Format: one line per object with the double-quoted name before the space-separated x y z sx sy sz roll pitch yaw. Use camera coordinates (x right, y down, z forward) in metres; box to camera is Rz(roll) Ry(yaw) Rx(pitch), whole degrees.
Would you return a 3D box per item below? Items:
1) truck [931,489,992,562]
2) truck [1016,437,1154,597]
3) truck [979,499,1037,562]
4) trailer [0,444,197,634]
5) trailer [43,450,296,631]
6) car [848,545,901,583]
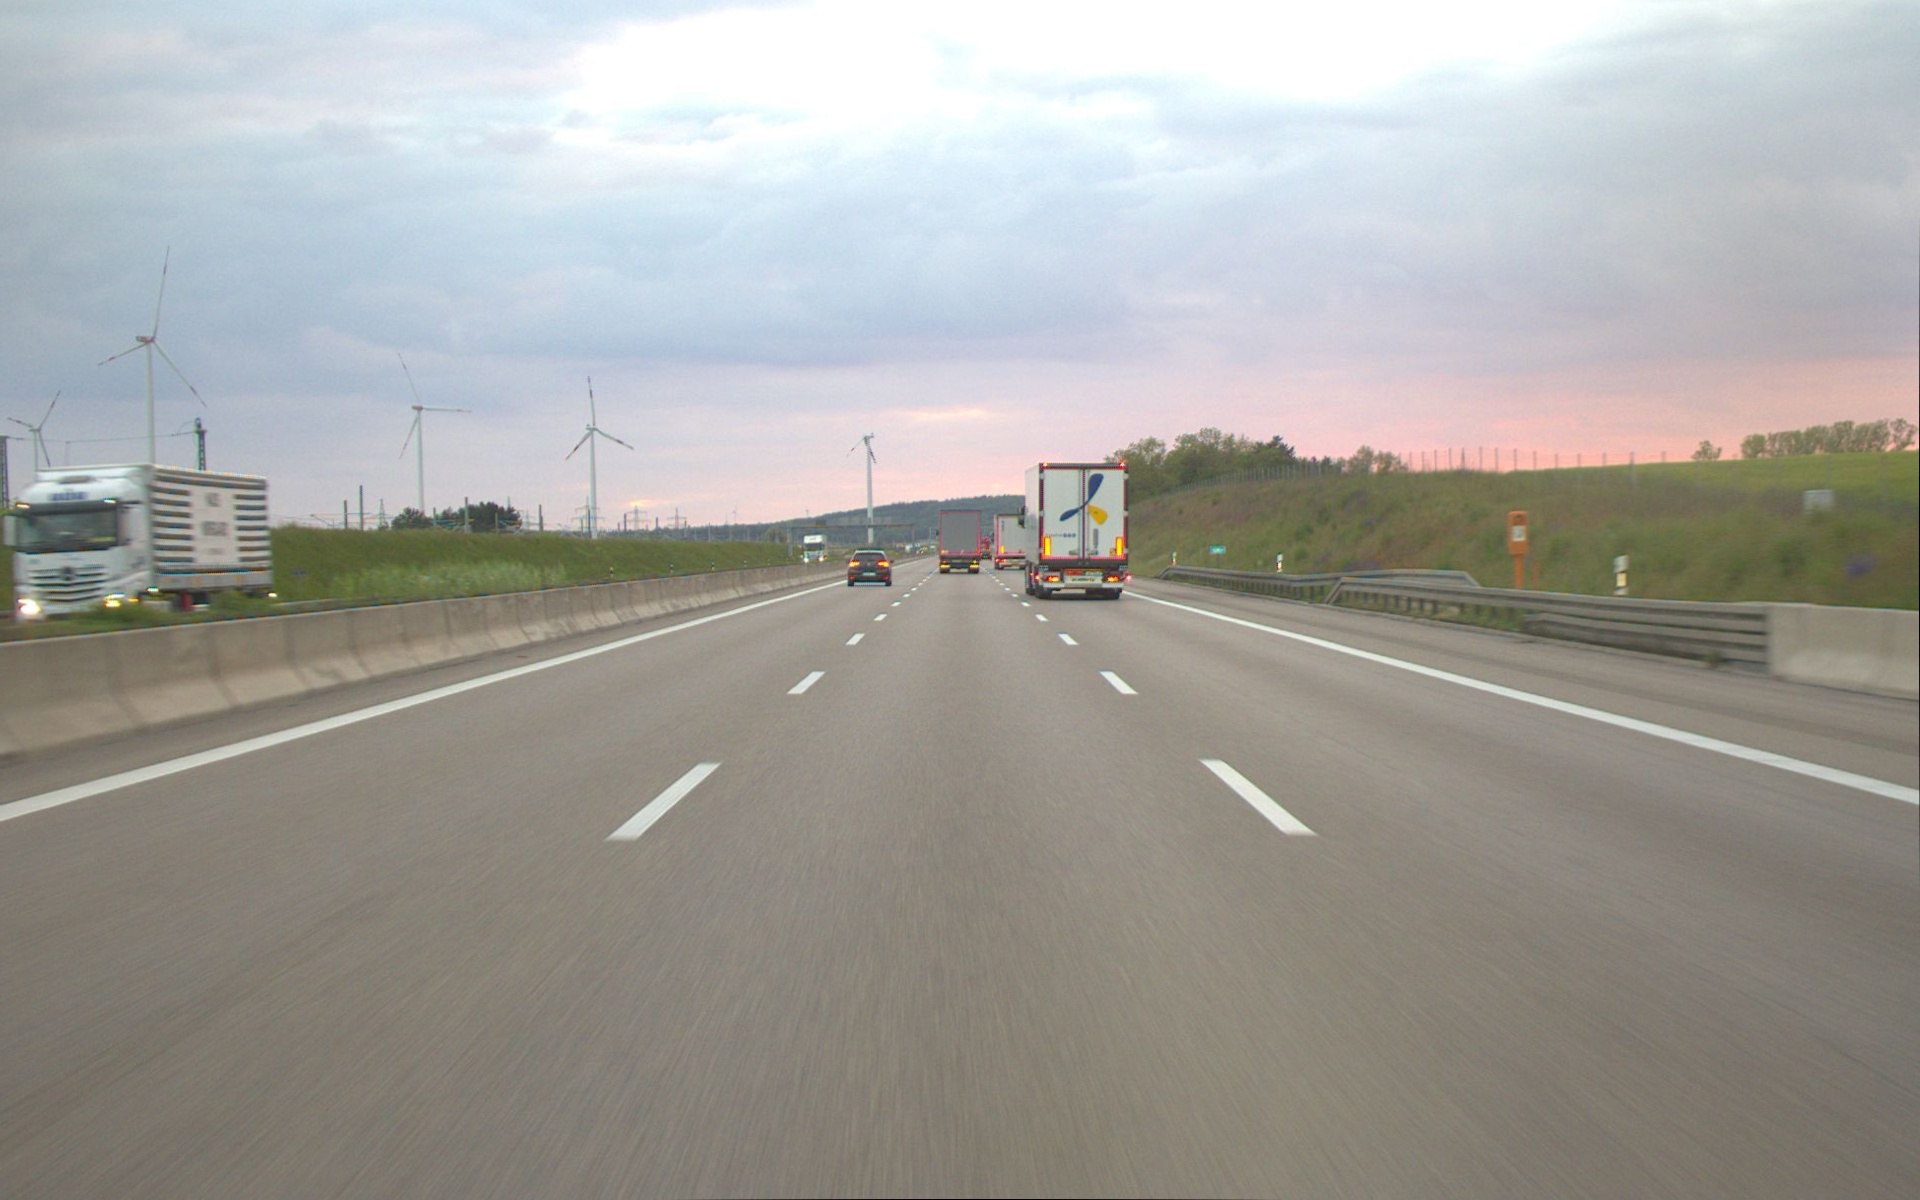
"truck" 0.089 -4.643 215.348 3.647 4.399 8.636 -1 1 0
"truck" 3.716 -2.497 104.913 3.675 4.549 10.982 -1 1 0
"truck" 3.477 -5.051 250.775 3.966 4.399 8.636 -1 1 0
"trailer" -20.004 -1.409 80.015 2.686 4.100 6.939 -3 1 1
"trailer" -19.931 -1.500 87.878 2.686 4.100 15.110 -3 1 0
"car" -3.470 -1.464 139.559 1.987 1.425 4.000 -1 1 1
